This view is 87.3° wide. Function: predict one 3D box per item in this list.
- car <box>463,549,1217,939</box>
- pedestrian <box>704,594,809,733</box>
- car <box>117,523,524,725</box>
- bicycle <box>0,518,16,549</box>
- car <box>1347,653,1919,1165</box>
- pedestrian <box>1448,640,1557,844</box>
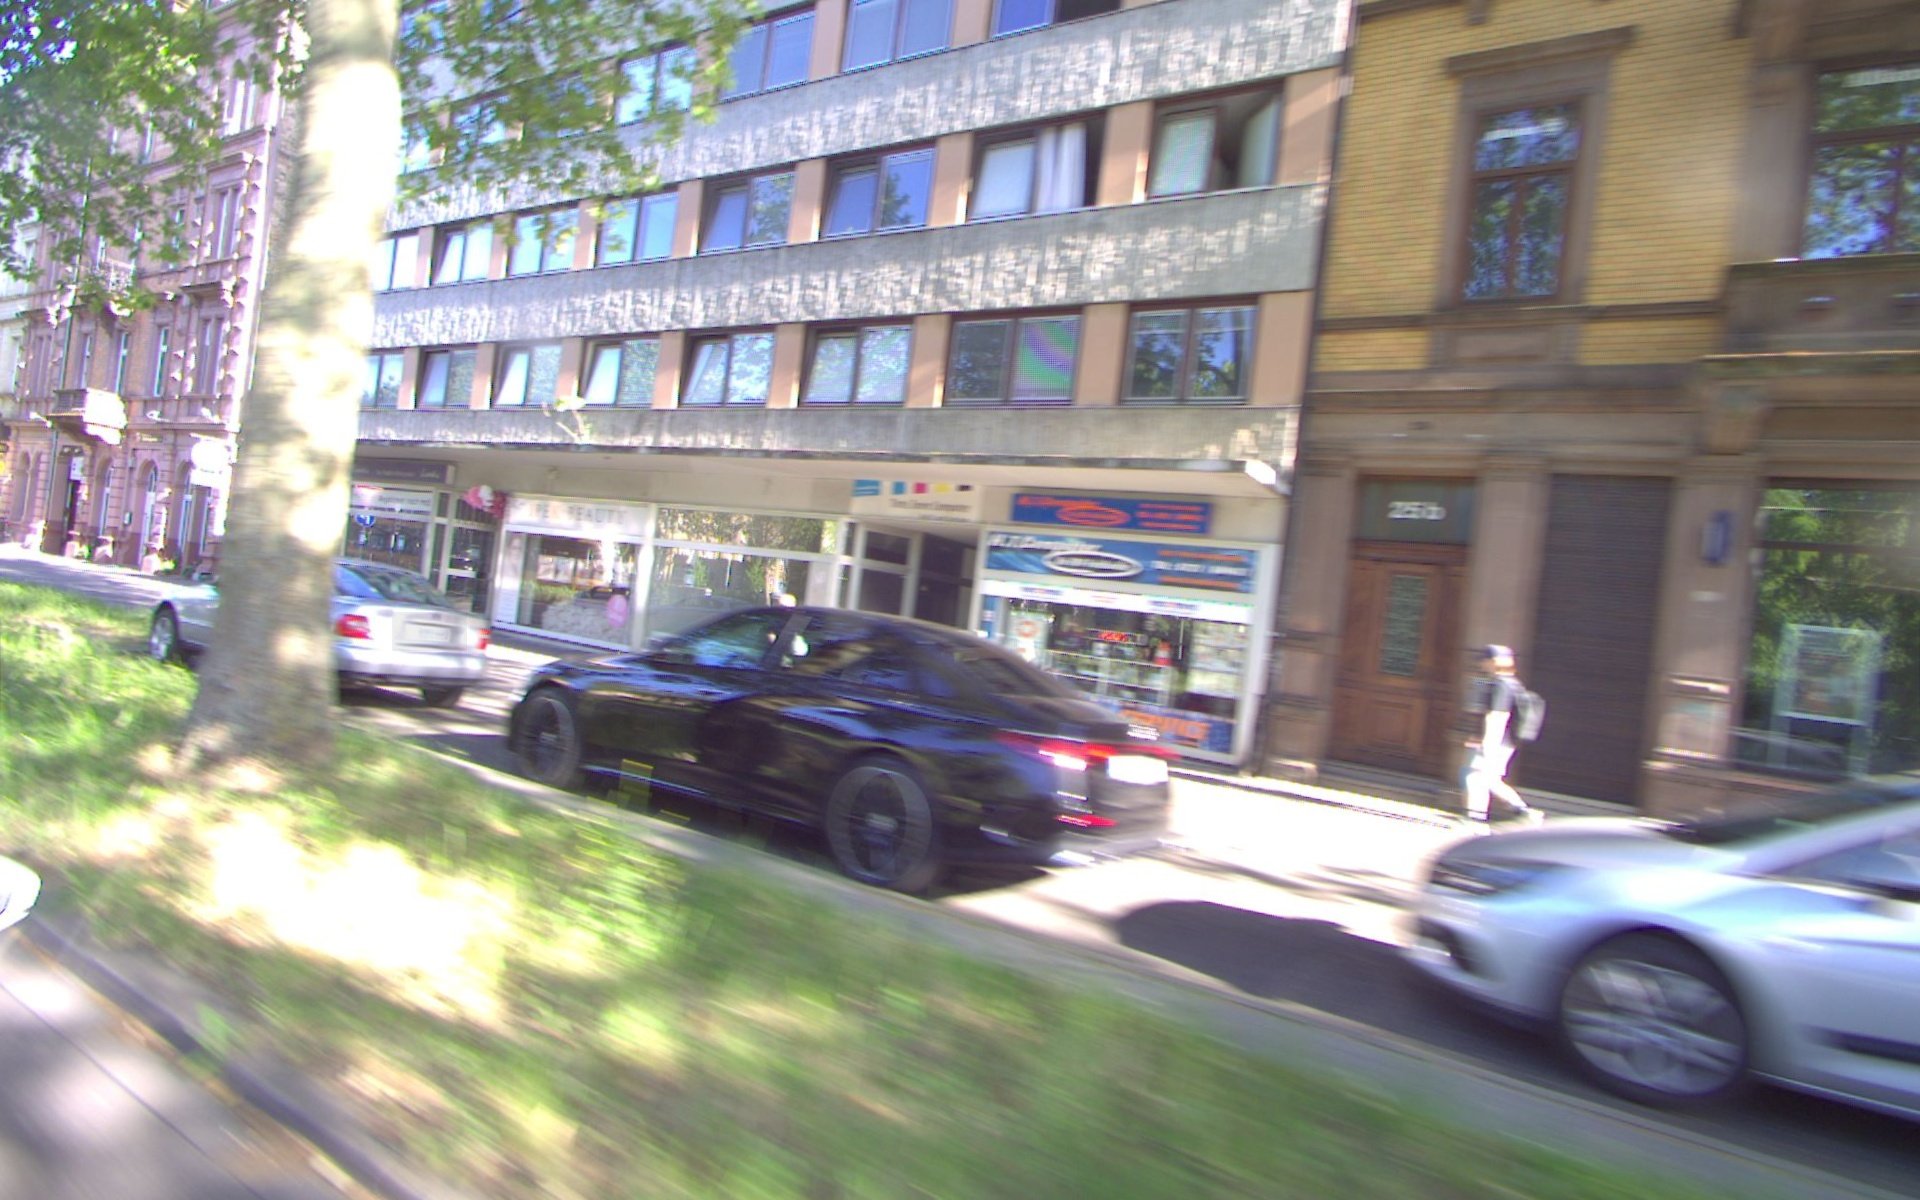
[{"bbox_3d":[-1.009,0.706,6.731,4.840,1.506,1.810,6,-3,33],"label":"car"},{"bbox_3d":[-2.819,0.894,14.000,0.703,1.780,1.002,7,-2,32],"label":"pedestrian"},{"bbox_3d":[-6.836,0.212,10.622,4.441,1.440,1.705,7,-3,31],"label":"car"},{"bbox_3d":[-33.943,-2.403,35.469,1.660,1.004,0.444,7,-2,31],"label":"bicycle"},{"bbox_3d":[4.104,1.279,3.808,4.592,1.482,1.682,6,-3,31],"label":"car"},{"bbox_3d":[5.481,1.403,10.141,0.704,1.862,1.001,7,-1,33],"label":"pedestrian"}]
